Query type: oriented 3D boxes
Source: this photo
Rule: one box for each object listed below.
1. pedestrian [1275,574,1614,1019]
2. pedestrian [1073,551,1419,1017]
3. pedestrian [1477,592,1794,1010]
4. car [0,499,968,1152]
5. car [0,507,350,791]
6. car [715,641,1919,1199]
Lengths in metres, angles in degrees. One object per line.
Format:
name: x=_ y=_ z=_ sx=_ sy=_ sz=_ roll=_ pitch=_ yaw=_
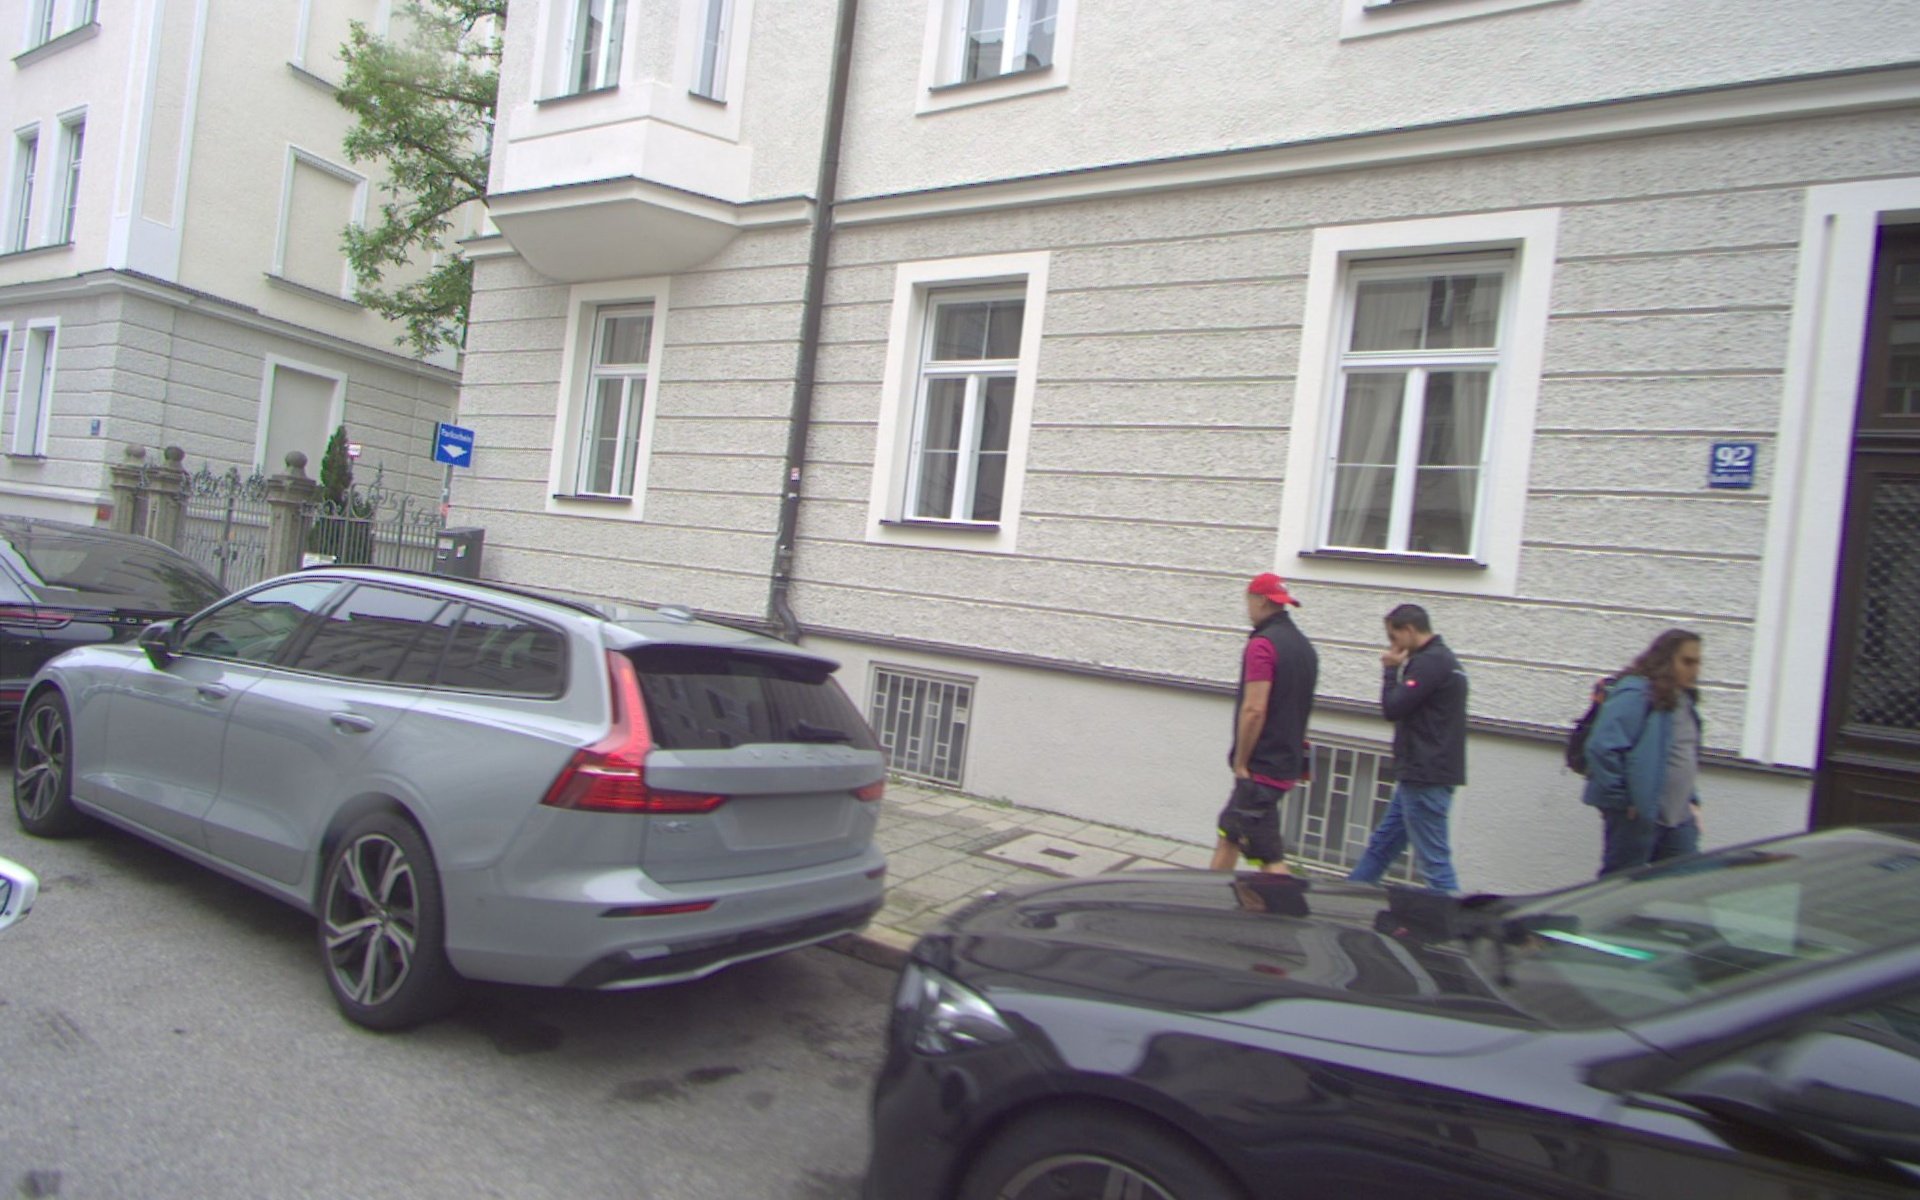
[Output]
pedestrian: x=2.344 y=0.846 z=4.905 sx=1.096 sy=1.810 sz=0.880 roll=8 pitch=3 yaw=45
pedestrian: x=1.321 y=0.754 z=4.735 sx=0.879 sy=1.835 sz=1.097 roll=4 pitch=3 yaw=-43
pedestrian: x=3.442 y=0.927 z=5.246 sx=1.092 sy=1.839 sz=0.883 roll=7 pitch=4 yaw=32
car: x=-2.353 y=0.577 z=4.522 sx=4.346 sy=1.502 sz=1.765 roll=7 pitch=-3 yaw=31
car: x=-6.752 y=0.109 z=7.137 sx=4.631 sy=1.475 sz=1.997 roll=6 pitch=0 yaw=29
car: x=2.104 y=1.150 z=1.858 sx=4.886 sy=1.415 sz=1.842 roll=7 pitch=-2 yaw=27
